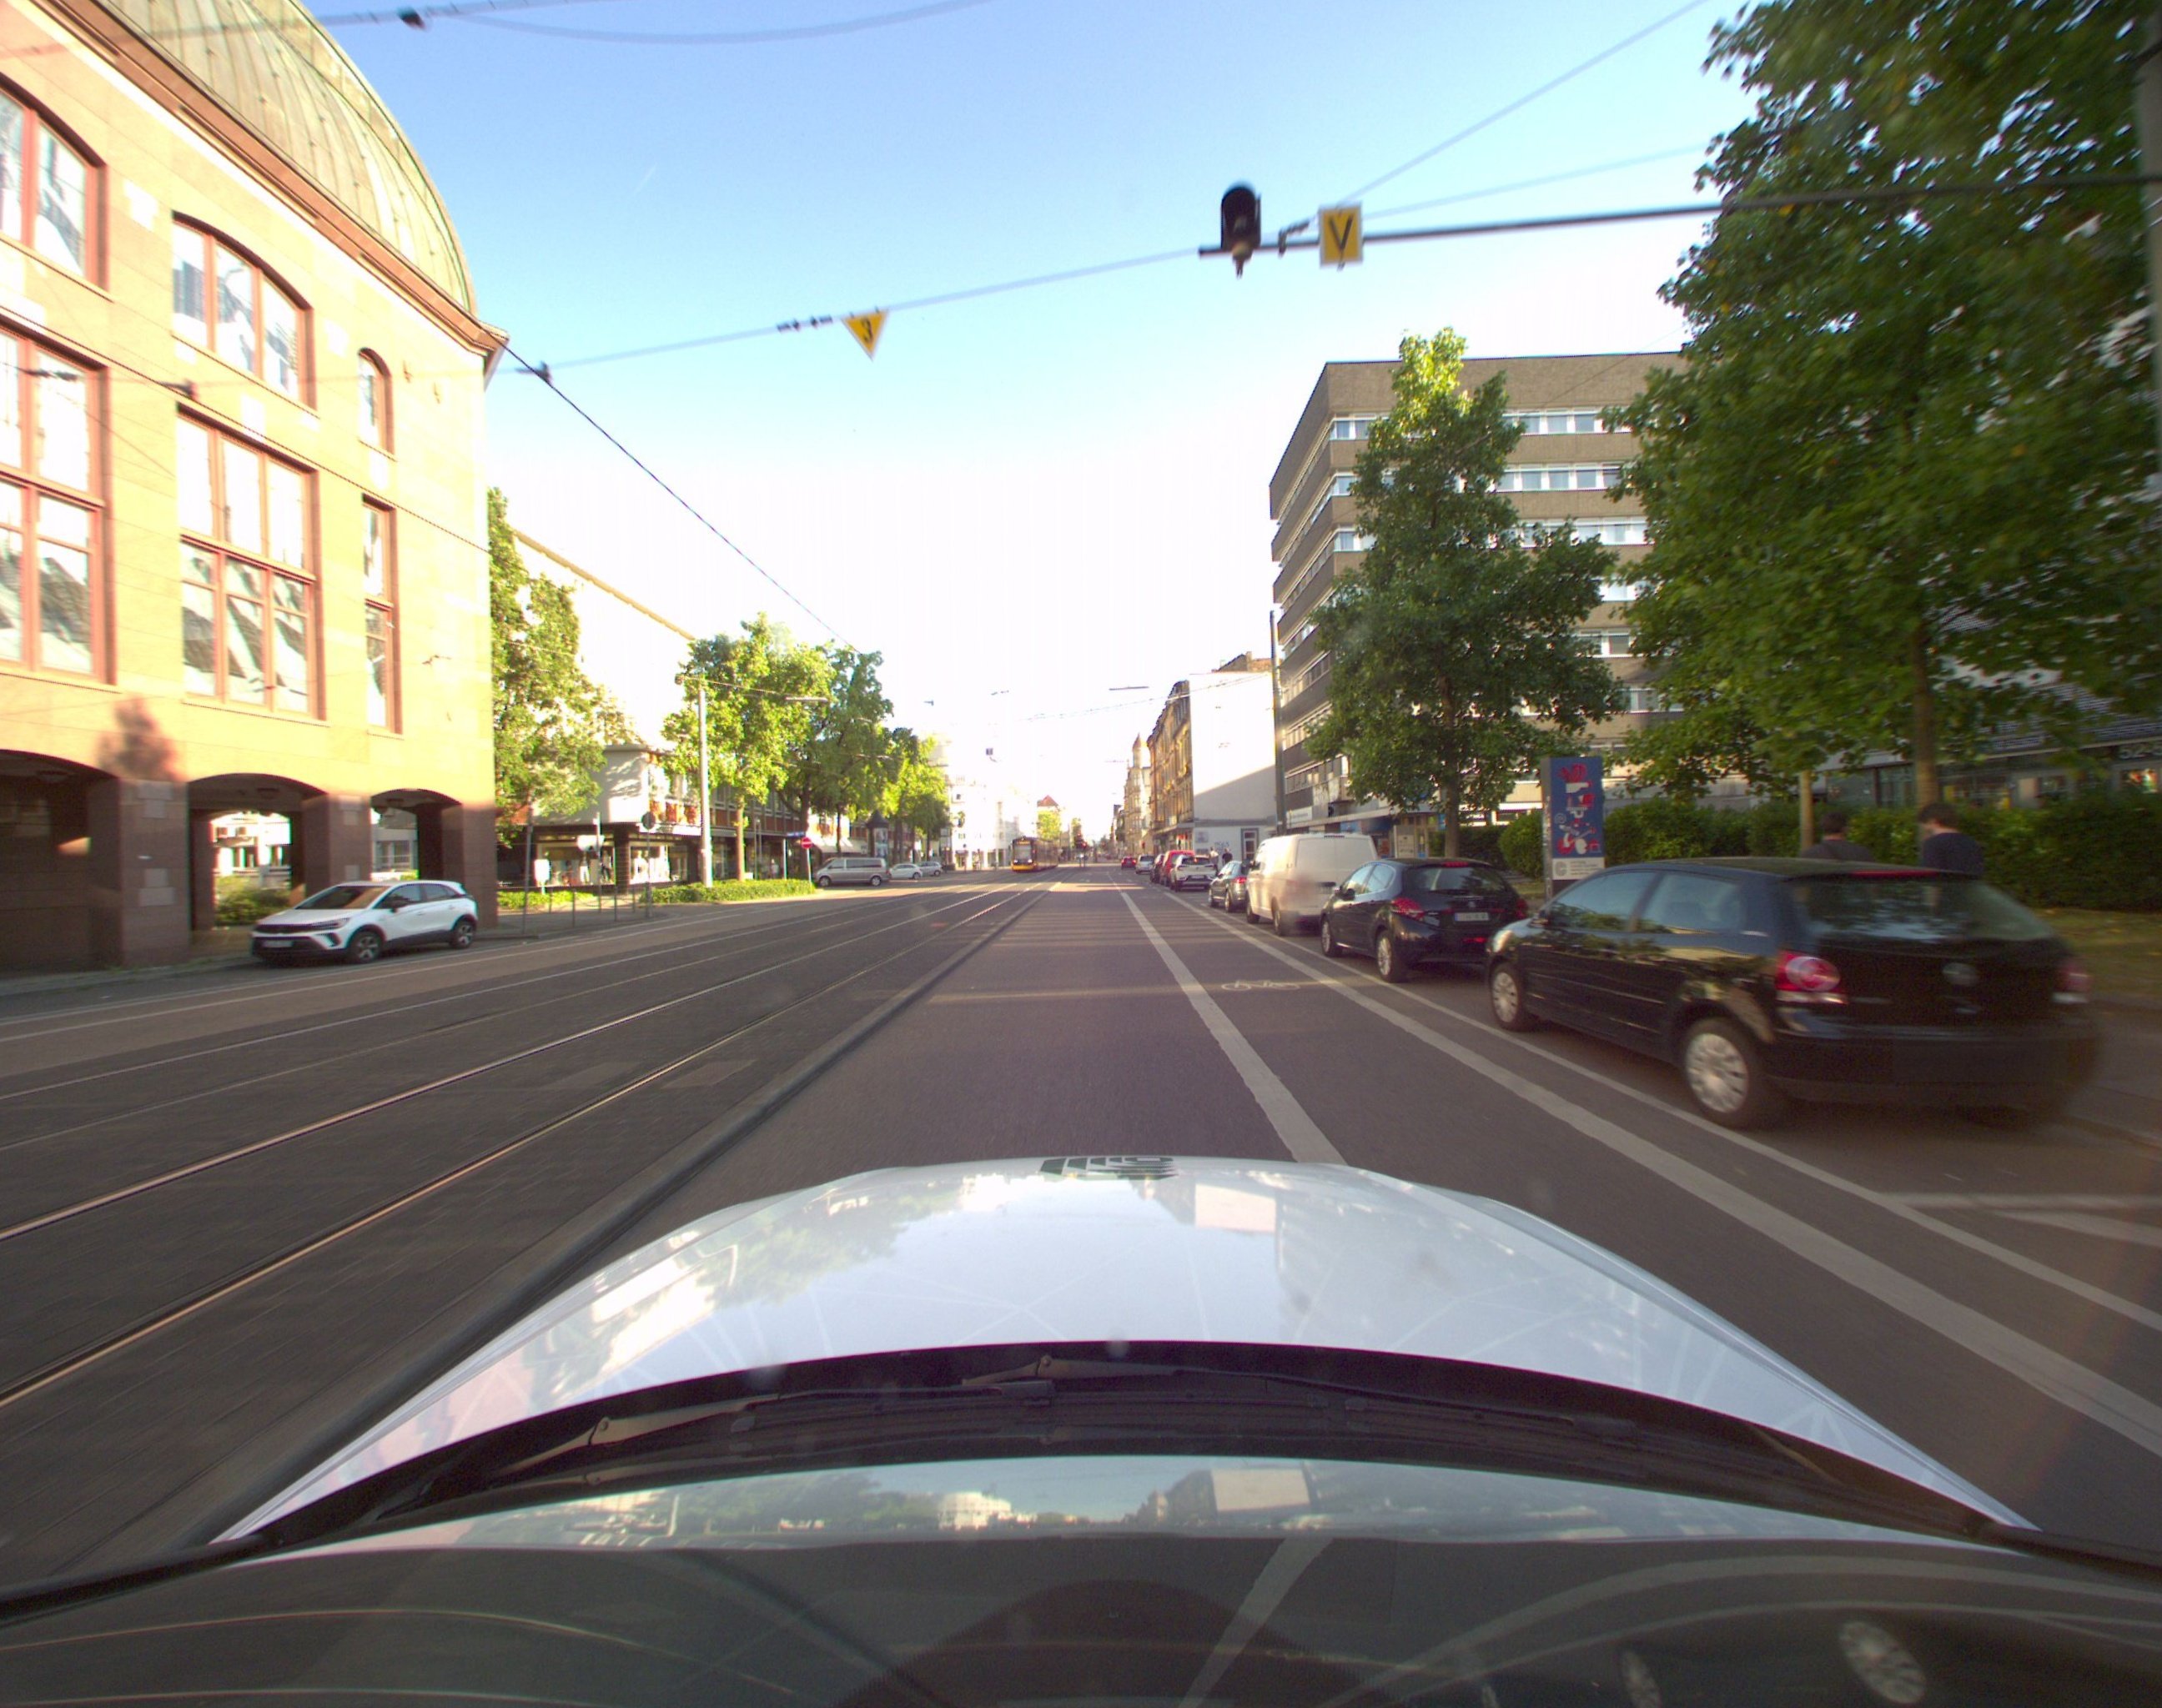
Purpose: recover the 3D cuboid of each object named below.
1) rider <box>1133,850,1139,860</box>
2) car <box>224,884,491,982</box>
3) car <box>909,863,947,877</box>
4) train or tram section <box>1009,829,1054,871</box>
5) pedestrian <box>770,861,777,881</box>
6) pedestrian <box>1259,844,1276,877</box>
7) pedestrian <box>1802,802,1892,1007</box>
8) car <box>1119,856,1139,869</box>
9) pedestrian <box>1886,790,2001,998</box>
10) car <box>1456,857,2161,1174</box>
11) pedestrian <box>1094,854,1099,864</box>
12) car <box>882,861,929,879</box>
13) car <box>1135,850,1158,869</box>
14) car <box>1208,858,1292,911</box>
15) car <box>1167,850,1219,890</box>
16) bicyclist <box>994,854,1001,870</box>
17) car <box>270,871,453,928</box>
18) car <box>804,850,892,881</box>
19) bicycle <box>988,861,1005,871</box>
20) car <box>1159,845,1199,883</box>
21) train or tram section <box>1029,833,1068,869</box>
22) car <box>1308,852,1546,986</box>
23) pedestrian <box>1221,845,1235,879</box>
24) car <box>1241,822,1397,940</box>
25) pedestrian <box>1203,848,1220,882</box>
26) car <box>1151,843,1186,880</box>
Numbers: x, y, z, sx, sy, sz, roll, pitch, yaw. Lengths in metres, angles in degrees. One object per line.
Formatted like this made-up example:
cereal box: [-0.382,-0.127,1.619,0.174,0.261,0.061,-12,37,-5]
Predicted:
rider: [7.943,0.117,117.547,0.705,1.481,0.890,0,0,14]
car: [-14.816,1.529,17.077,1.864,1.600,4.251,-1,0,-2]
car: [-15.959,1.649,84.802,3.542,1.481,1.566,1,0,-31]
train or tram section: [-4.870,-0.346,82.879,2.678,3.960,12.109,1,0,6]
pedestrian: [-20.232,1.110,53.565,0.363,1.343,0.480,1,0,-19]
pedestrian: [9.740,0.346,42.514,0.658,1.722,0.835,-1,-1,2]
pedestrian: [6.636,0.414,7.072,0.422,1.710,0.455,0,1,19]
car: [5.571,0.960,95.210,2.058,1.389,4.225,1,0,1]
pedestrian: [7.359,0.328,6.963,0.494,1.709,0.456,-3,2,19]
car: [4.336,0.759,5.767,1.615,1.431,3.986,-1,0,2]
pedestrian: [2.961,1.020,158.490,0.917,2.013,0.759,1,0,1]
car: [-16.020,1.427,74.343,3.893,1.627,1.857,1,0,-30]
car: [5.514,0.481,68.638,1.615,1.555,4.083,0,0,1]
car: [4.699,0.799,23.168,1.615,1.370,3.931,0,0,1]
car: [4.840,0.653,35.633,1.717,1.567,4.083,-2,0,1]
bicyclist: [-10.663,0.994,103.579,0.718,2.013,0.702,1,0,8]
car: [-27.967,1.737,31.840,4.914,1.993,2.146,-1,0,-8]
car: [-15.706,0.802,55.065,5.286,2.043,2.394,1,-2,-31]
bicycle: [-10.686,1.514,103.577,2.008,1.239,0.702,1,0,7]
car: [4.974,0.494,41.724,1.615,1.813,4.083,0,0,1]
train or tram section: [-3.658,-0.319,95.291,2.678,3.878,12.864,1,0,6]
car: [4.397,0.724,11.037,1.615,1.474,3.972,-1,0,1]
pedestrian: [7.702,0.410,42.675,0.622,1.722,0.628,-1,-1,1]
car: [4.708,0.482,16.865,1.963,2.014,4.560,-3,0,2]
pedestrian: [6.814,0.565,42.485,0.728,1.722,0.835,-1,-1,2]
car: [4.882,0.401,45.965,1.615,2.006,3.831,0,0,1]
